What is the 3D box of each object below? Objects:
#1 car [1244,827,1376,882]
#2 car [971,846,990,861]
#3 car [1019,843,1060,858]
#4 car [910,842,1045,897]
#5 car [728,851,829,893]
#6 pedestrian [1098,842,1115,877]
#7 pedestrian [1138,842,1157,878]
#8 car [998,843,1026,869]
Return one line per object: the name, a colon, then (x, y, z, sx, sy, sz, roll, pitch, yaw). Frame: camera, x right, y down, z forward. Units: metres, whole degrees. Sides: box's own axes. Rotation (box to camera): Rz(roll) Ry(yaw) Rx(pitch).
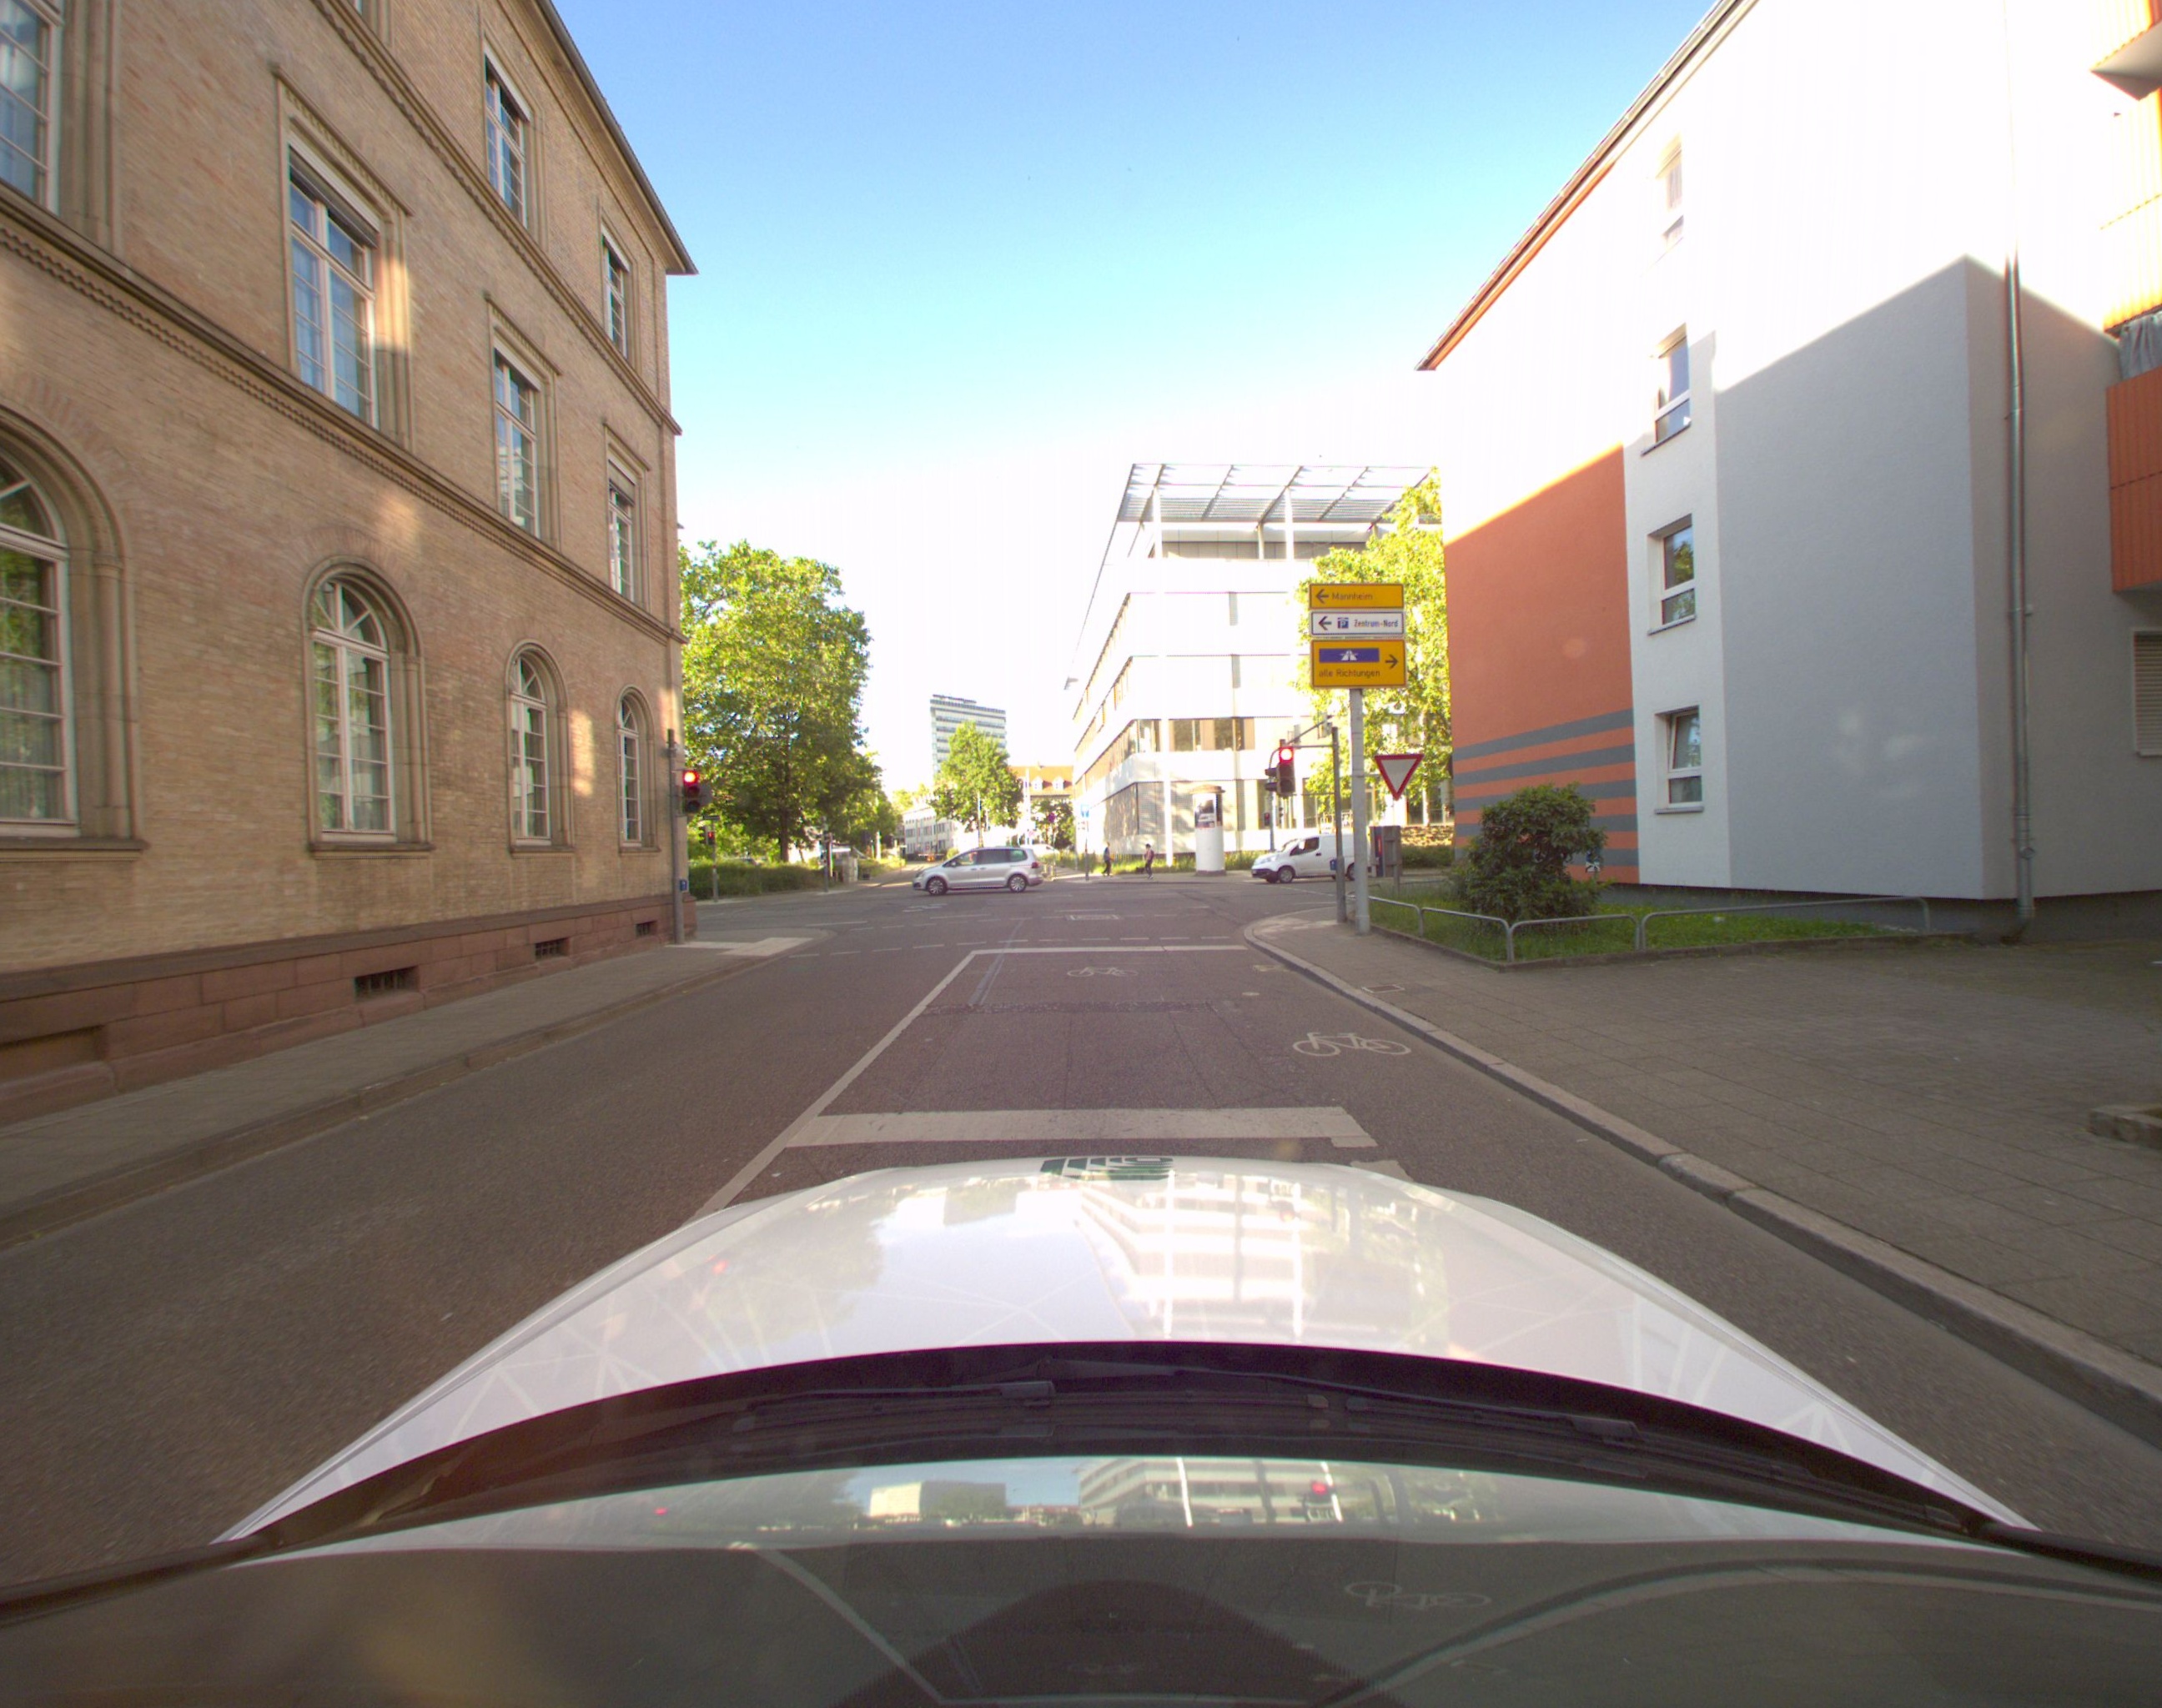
car: (8.739, 0.014, 31.276, 4.533, 1.799, 1.634, -3, 0, -6)
car: (-12.022, -0.044, 97.206, 2.100, 1.657, 4.461, -2, 1, -9)
car: (-5.301, -0.489, 104.293, 4.890, 1.872, 1.990, -1, 0, -15)
car: (-3.762, 0.547, 30.134, 4.751, 1.707, 1.797, -3, 1, -5)
car: (-14.682, 0.847, 39.708, 4.220, 1.777, 1.900, -2, 0, -7)
pedestrian: (1.273, 0.260, 40.679, 0.648, 1.736, 0.815, -2, 0, 14)
pedestrian: (3.004, 0.281, 36.865, 0.706, 1.599, 0.620, -2, 0, 14)
car: (-5.605, 0.106, 66.068, 2.065, 1.963, 4.228, -2, 1, -7)
